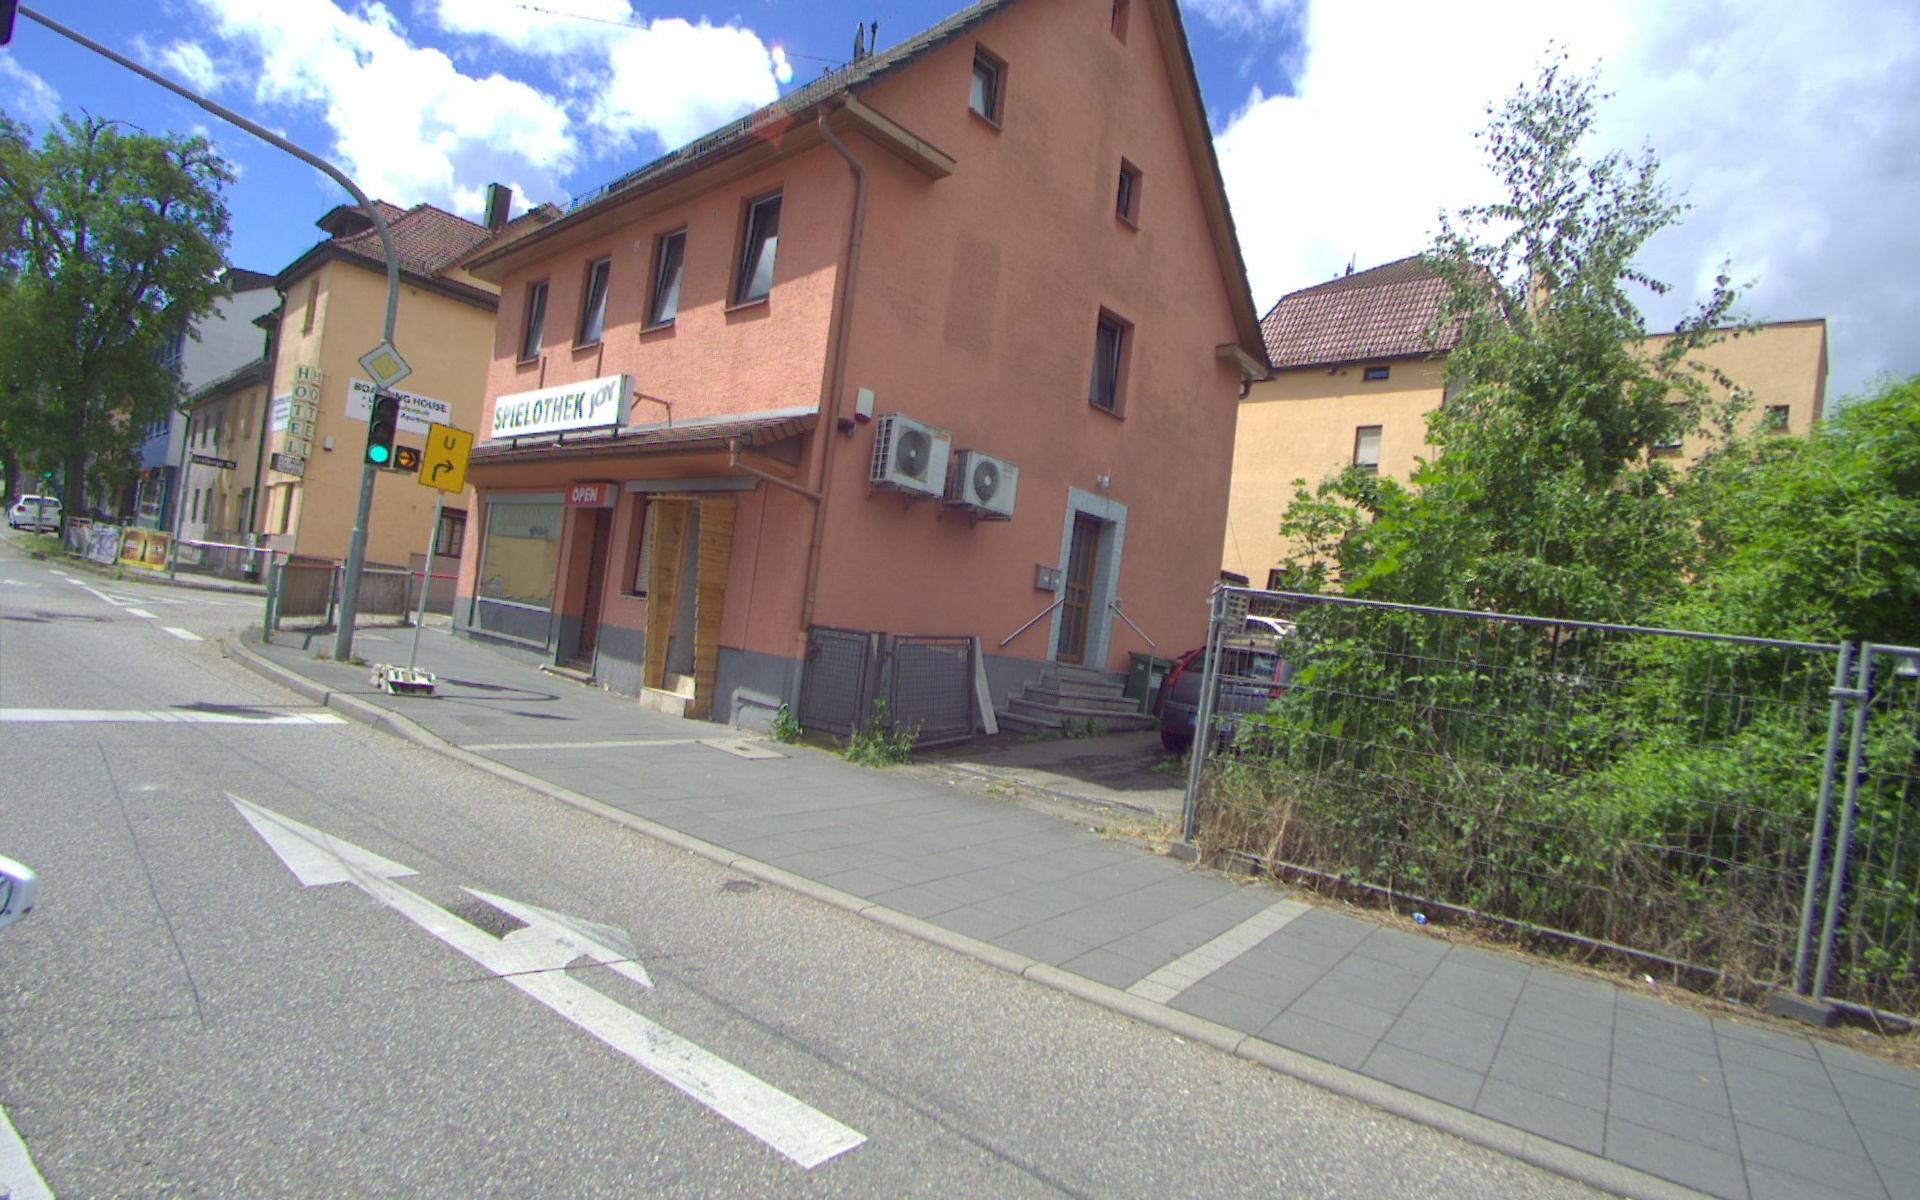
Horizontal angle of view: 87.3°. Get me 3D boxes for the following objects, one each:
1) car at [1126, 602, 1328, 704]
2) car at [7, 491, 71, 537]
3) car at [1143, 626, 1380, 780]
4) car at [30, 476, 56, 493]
[{"bbox_3d":[6.211,1.222,23.646,3.947,1.804,1.990,7,-1,44],"label":"car"},{"bbox_3d":[-39.501,-3.682,43.099,1.782,1.615,3.950,7,-1,-45],"label":"car"},{"bbox_3d":[3.793,1.200,12.481,1.627,1.516,2.796,7,2,43],"label":"car"},{"bbox_3d":[-113.645,-14.313,124.713,1.985,1.682,3.957,7,-1,-39],"label":"car"}]
